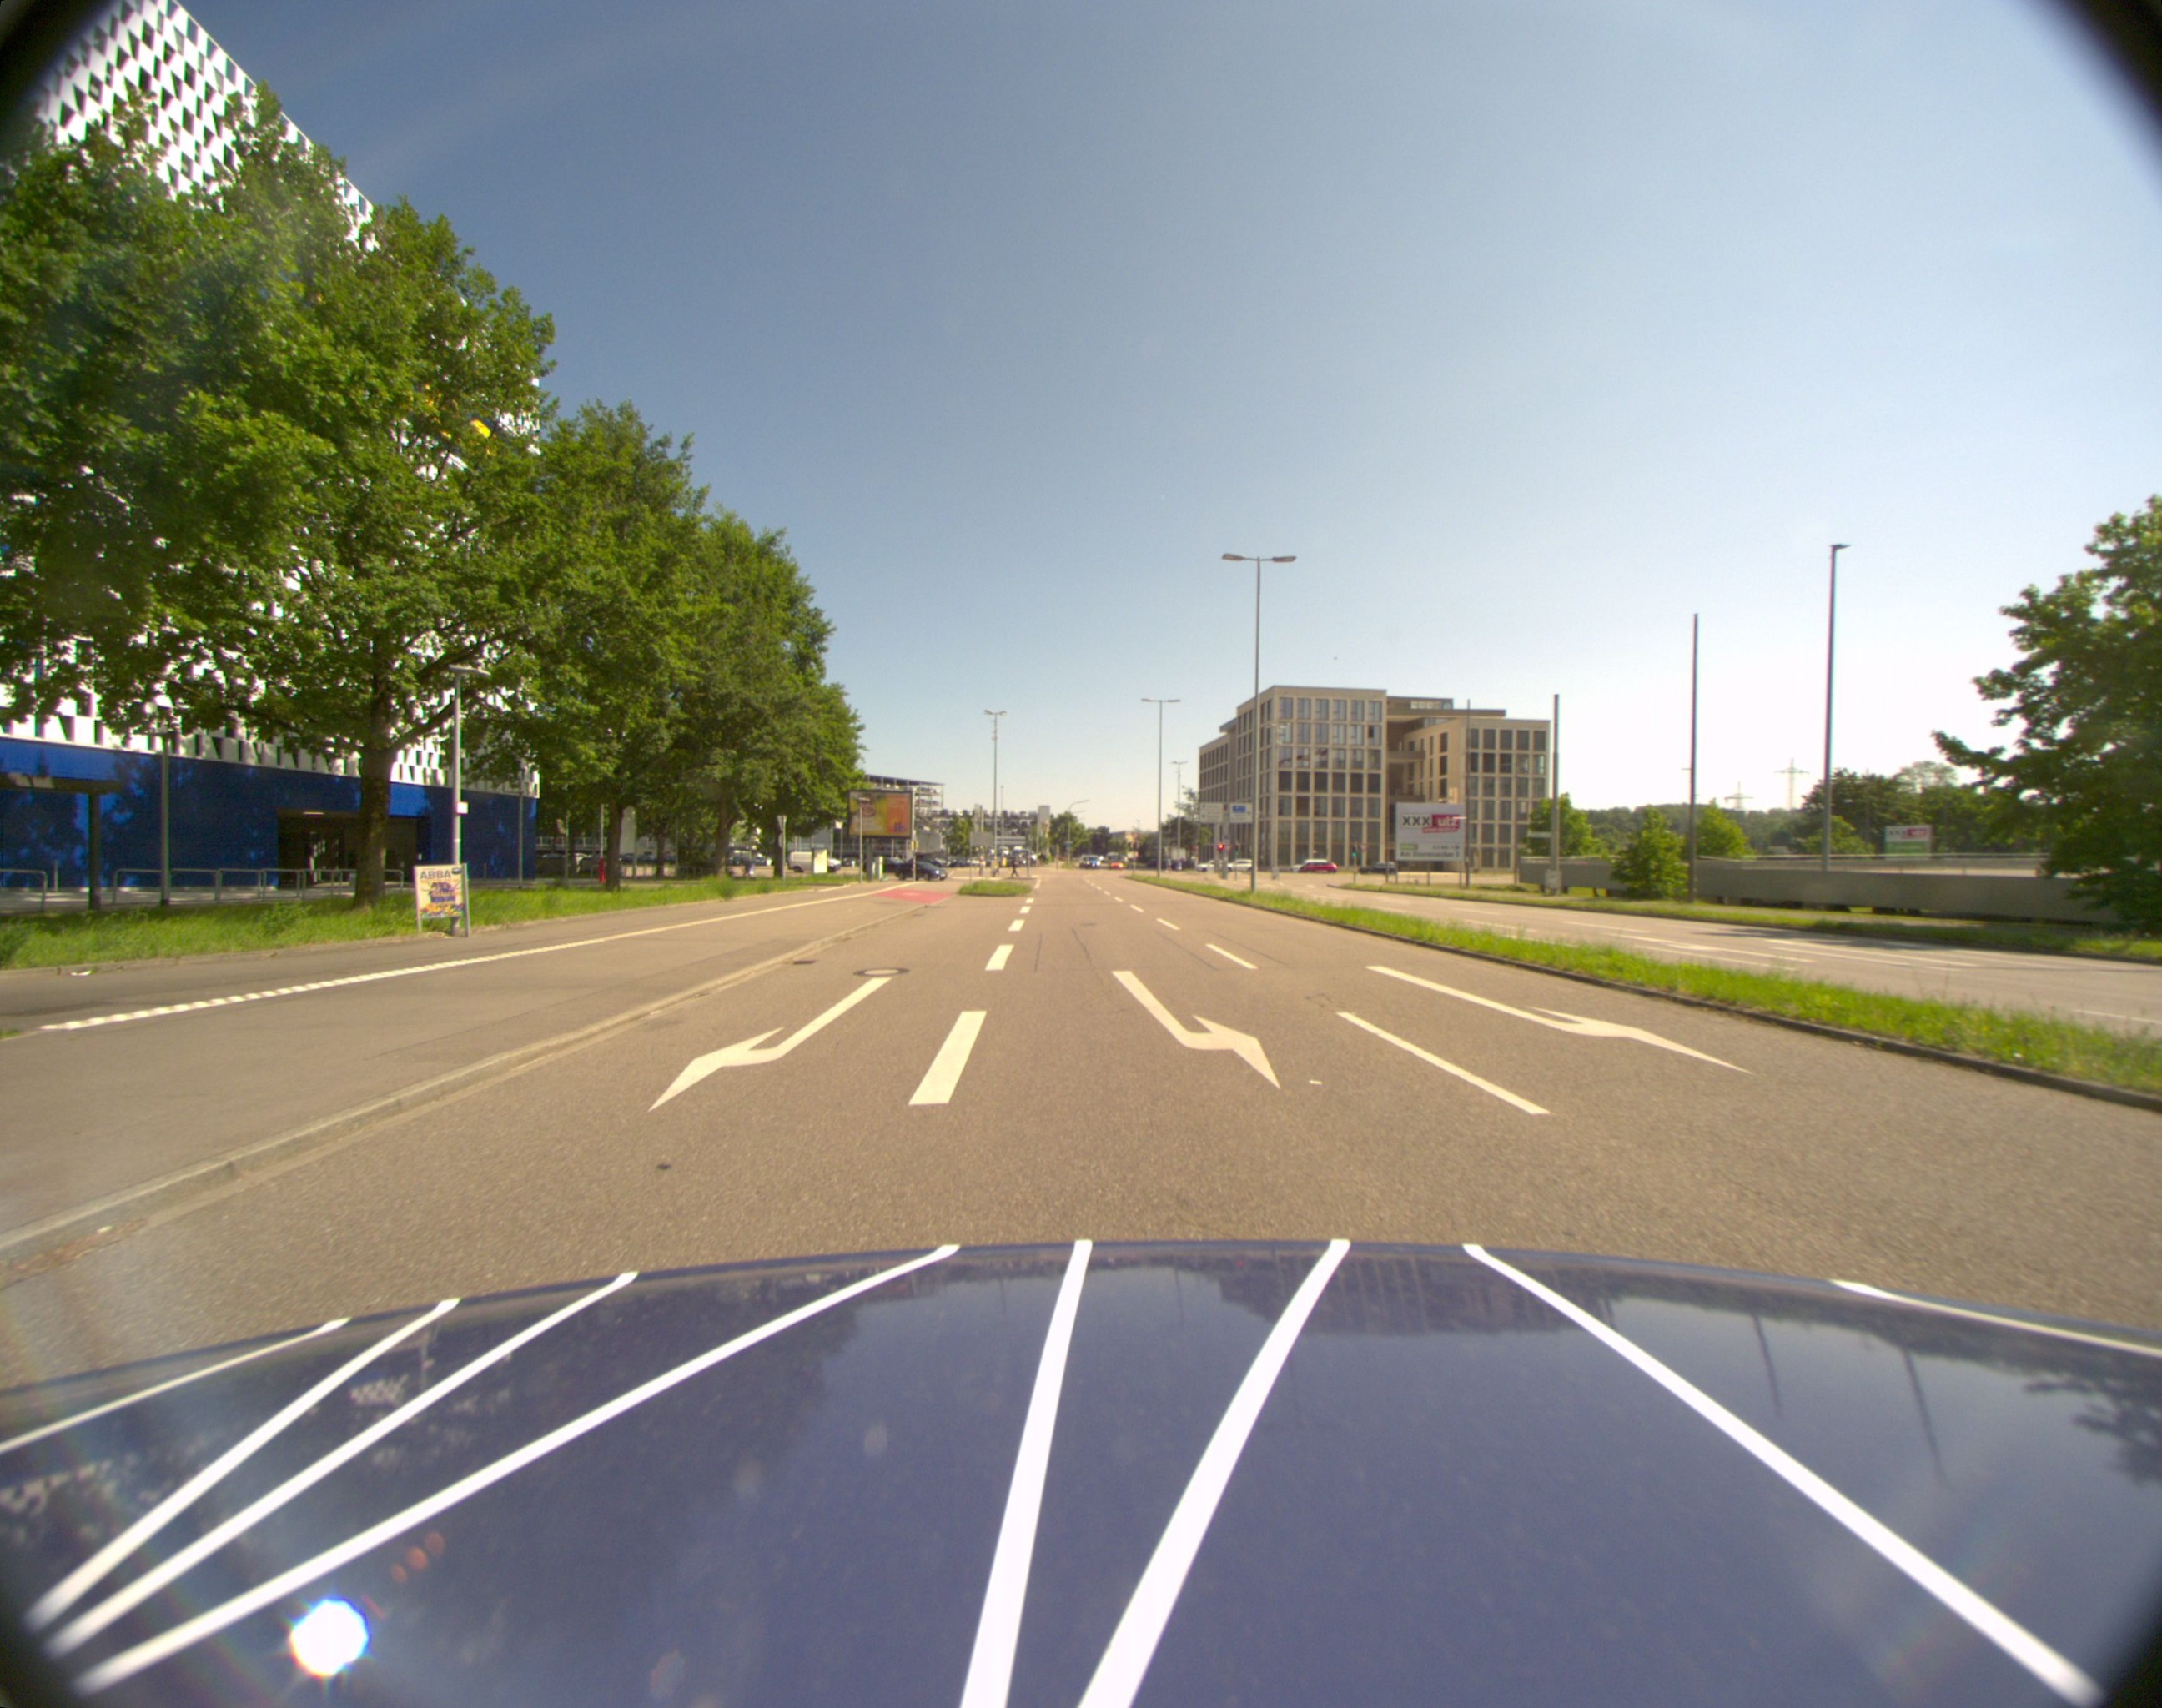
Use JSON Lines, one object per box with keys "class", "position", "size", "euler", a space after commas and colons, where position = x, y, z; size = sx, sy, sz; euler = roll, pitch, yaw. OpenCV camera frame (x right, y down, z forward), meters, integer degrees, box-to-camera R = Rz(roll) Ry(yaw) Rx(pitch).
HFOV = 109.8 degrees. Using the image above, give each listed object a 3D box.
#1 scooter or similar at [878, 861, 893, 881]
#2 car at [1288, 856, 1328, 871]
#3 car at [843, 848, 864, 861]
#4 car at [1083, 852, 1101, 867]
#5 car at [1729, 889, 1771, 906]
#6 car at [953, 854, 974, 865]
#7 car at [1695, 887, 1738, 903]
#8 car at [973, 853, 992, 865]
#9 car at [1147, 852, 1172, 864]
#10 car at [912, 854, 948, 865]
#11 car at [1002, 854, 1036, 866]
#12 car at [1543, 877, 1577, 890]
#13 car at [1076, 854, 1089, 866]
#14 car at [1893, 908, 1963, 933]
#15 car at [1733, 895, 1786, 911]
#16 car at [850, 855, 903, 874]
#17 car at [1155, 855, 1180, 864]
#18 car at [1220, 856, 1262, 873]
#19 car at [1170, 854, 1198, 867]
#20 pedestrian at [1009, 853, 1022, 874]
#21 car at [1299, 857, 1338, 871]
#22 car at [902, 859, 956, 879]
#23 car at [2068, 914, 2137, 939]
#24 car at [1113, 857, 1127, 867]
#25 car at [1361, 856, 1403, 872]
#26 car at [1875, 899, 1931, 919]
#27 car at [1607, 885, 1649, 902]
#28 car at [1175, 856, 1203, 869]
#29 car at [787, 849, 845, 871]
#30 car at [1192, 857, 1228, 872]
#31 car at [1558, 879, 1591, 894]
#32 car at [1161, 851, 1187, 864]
{"class": "scooter or similar", "position": [-11.947, 1.012, 46.459], "size": [0.402, 1.160, 1.185], "euler": [1, 2, 13]}
{"class": "car", "position": [27.322, 1.131, 91.405], "size": [4.231, 1.701, 1.903], "euler": [0, 0, -7]}
{"class": "car", "position": [-28.582, 0.058, 95.413], "size": [1.888, 1.537, 3.886], "euler": [0, 0, -7]}
{"class": "car", "position": [1.528, 0.741, 103.389], "size": [2.185, 1.898, 4.732], "euler": [1, 0, 4]}
{"class": "car", "position": [41.476, 2.688, 47.103], "size": [1.943, 0.970, 0.886], "euler": [0, 1, -7]}
{"class": "car", "position": [-15.035, 0.683, 97.076], "size": [1.998, 1.452, 4.000], "euler": [0, 0, 1]}
{"class": "car", "position": [41.340, 2.654, 49.446], "size": [1.943, 0.969, 1.070], "euler": [1, 0, -6]}
{"class": "car", "position": [-12.601, 0.674, 97.445], "size": [1.887, 1.452, 3.999], "euler": [0, 1, 1]}
{"class": "car", "position": [13.667, 0.698, 132.242], "size": [3.992, 2.002, 2.002], "euler": [1, 0, 16]}
{"class": "car", "position": [-19.347, 0.744, 97.372], "size": [4.351, 1.342, 1.820], "euler": [1, 0, -6]}
{"class": "car", "position": [-8.322, 0.772, 102.389], "size": [4.480, 1.578, 1.979], "euler": [1, 0, -4]}
{"class": "car", "position": [34.584, 2.132, 54.829], "size": [1.943, 0.969, 0.889], "euler": [0, -2, -7]}
{"class": "car", "position": [0.144, 0.881, 109.517], "size": [1.667, 1.548, 3.853], "euler": [0, 1, -3]}
{"class": "car", "position": [36.137, 2.830, 32.429], "size": [1.943, 0.970, 1.070], "euler": [0, 1, -7]}
{"class": "car", "position": [35.621, 2.558, 39.886], "size": [2.087, 0.729, 0.906], "euler": [0, 1, -7]}
{"class": "car", "position": [-18.786, 0.920, 69.880], "size": [4.503, 1.618, 1.714], "euler": [-1, 2, -6]}
{"class": "car", "position": [14.773, 0.936, 129.487], "size": [3.992, 1.605, 2.002], "euler": [1, 0, 16]}
{"class": "car", "position": [18.365, 1.212, 87.170], "size": [4.312, 1.827, 2.024], "euler": [0, 1, -9]}
{"class": "car", "position": [16.079, 1.008, 118.659], "size": [3.992, 1.816, 2.002], "euler": [1, 0, 16]}
{"class": "pedestrian", "position": [-5.476, 0.779, 63.346], "size": [0.705, 1.769, 0.961], "euler": [1, 1, 20]}
{"class": "car", "position": [27.490, 1.131, 88.024], "size": [4.119, 1.518, 1.530], "euler": [0, 0, -7]}
{"class": "car", "position": [-12.085, 1.184, 60.245], "size": [4.226, 1.456, 1.775], "euler": [0, 2, 36]}
{"class": "car", "position": [44.147, 3.126, 32.853], "size": [1.943, 0.970, 0.909], "euler": [0, 1, -7]}
{"class": "car", "position": [5.352, 1.050, 103.964], "size": [1.738, 1.356, 3.867], "euler": [1, 0, 4]}
{"class": "car", "position": [36.230, 1.245, 91.546], "size": [4.242, 1.878, 1.834], "euler": [0, 1, -4]}
{"class": "car", "position": [43.399, 2.909, 40.115], "size": [1.943, 0.970, 1.070], "euler": [0, 1, -7]}
{"class": "car", "position": [34.981, 2.508, 48.595], "size": [1.943, 1.002, 1.071], "euler": [2, -1, -5]}
{"class": "car", "position": [16.443, 1.256, 115.480], "size": [3.993, 1.728, 2.001], "euler": [2, 2, 10]}
{"class": "car", "position": [-25.539, 0.594, 73.383], "size": [4.999, 1.996, 1.739], "euler": [0, 2, -6]}
{"class": "car", "position": [15.220, 1.203, 89.601], "size": [3.767, 1.703, 1.832], "euler": [0, 1, -10]}
{"class": "car", "position": [30.138, 1.990, 46.408], "size": [1.506, 0.877, 0.791], "euler": [0, 2, -7]}
{"class": "car", "position": [15.311, 0.616, 125.485], "size": [3.991, 2.002, 2.003], "euler": [1, 0, 17]}
